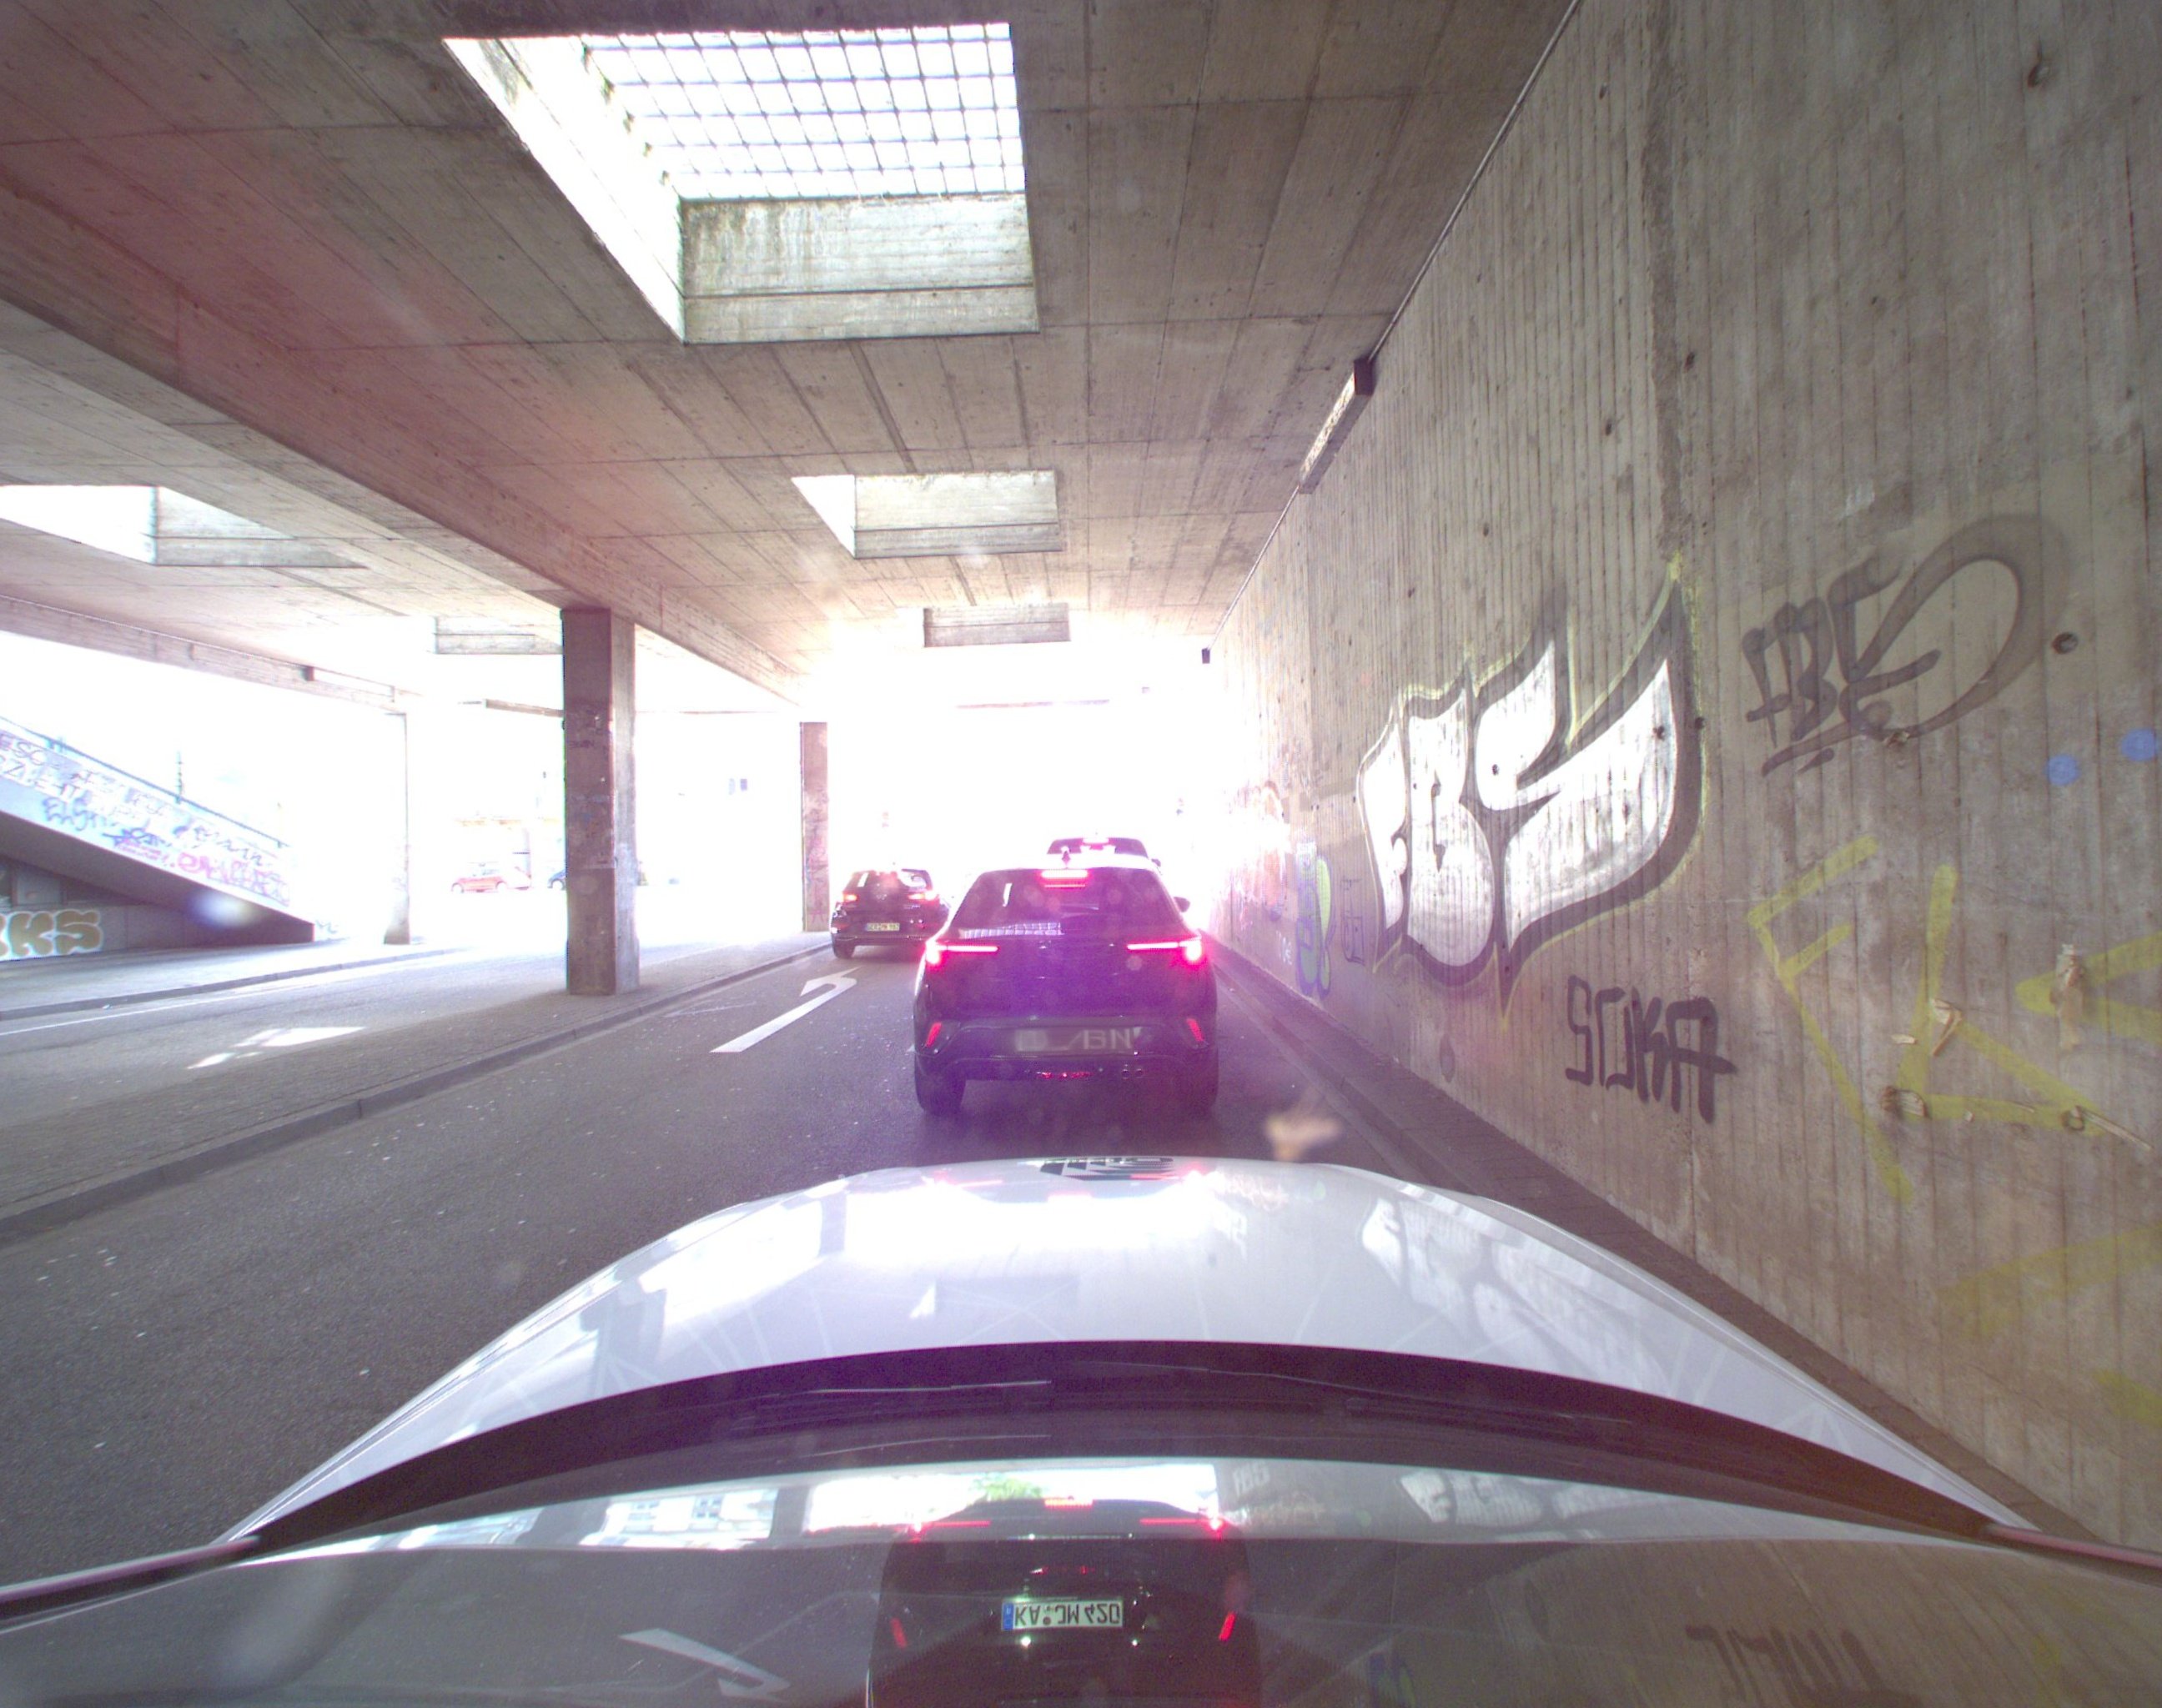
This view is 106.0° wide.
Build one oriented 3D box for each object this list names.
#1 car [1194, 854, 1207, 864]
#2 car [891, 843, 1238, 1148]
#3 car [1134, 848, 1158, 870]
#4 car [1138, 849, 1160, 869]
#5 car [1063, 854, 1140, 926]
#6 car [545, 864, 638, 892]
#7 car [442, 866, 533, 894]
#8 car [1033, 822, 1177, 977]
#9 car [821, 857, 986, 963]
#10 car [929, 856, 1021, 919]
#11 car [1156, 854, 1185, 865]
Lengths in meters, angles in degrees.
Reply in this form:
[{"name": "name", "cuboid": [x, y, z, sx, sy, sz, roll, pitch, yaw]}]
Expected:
[{"name": "car", "cuboid": [19.720, 0.871, 134.660, 1.742, 1.667, 3.958, -1, -1, 13]}, {"name": "car", "cuboid": [-0.023, 0.729, 6.217, 1.755, 1.531, 4.091, -1, 0, 2]}, {"name": "car", "cuboid": [4.967, 0.383, 62.244, 1.745, 1.667, 3.950, 0, -1, 6]}, {"name": "car", "cuboid": [5.754, 0.427, 68.349, 1.745, 1.667, 3.950, 0, -1, 6]}, {"name": "car", "cuboid": [0.496, 0.764, 19.375, 1.603, 1.513, 4.055, -1, 0, 2]}, {"name": "car", "cuboid": [-27.172, 1.316, 45.281, 4.096, 1.475, 1.737, -1, -1, 0]}, {"name": "car", "cuboid": [-32.928, 1.437, 45.258, 3.748, 1.475, 1.749, -1, -1, 0]}, {"name": "car", "cuboid": [0.361, 0.569, 12.156, 1.755, 1.883, 4.148, -1, 0, 2]}, {"name": "car", "cuboid": [-2.745, 0.801, 13.476, 1.755, 1.480, 3.846, -1, 0, 2]}, {"name": "car", "cuboid": [-2.656, 0.798, 21.204, 1.755, 1.480, 3.846, -1, 0, 2]}, {"name": "car", "cuboid": [14.819, 0.888, 134.508, 4.836, 1.667, 1.803, 0, -1, -36]}]
